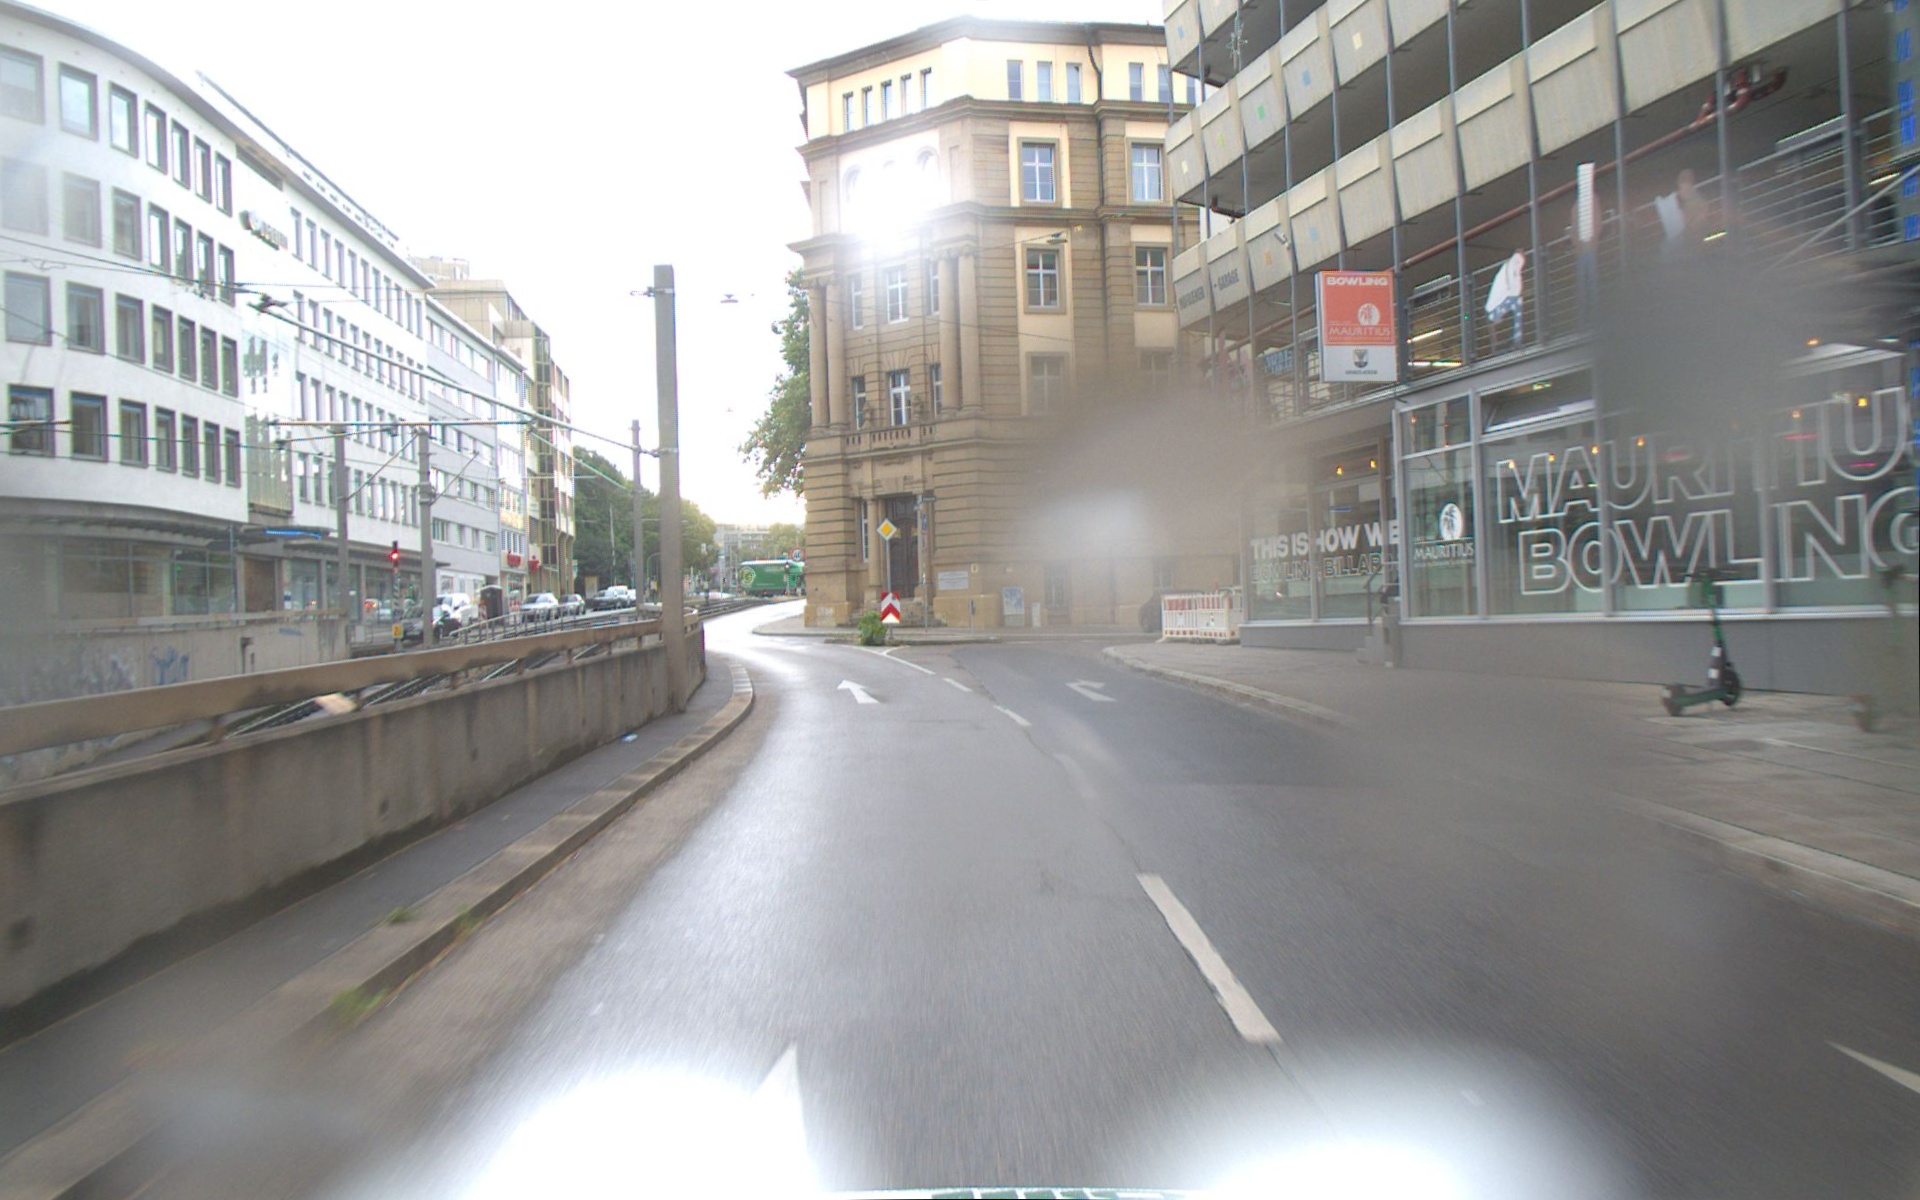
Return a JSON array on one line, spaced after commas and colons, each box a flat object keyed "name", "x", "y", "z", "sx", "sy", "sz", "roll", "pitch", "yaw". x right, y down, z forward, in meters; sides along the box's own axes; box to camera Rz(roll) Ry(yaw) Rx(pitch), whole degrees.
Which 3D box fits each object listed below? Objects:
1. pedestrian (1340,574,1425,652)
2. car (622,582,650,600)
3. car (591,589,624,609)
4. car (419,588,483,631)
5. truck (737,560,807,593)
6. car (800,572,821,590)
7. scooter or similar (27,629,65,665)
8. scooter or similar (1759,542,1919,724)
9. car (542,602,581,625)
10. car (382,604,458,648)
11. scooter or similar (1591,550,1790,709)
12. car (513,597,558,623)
[{"name": "pedestrian", "x": 6.439, "y": 0.193, "z": 25.232, "sx": 0.740, "sy": 1.142, "sz": 1.242, "roll": -1, "pitch": 0, "yaw": -14}, {"name": "car", "x": -27.809, "y": -0.788, "z": 141.982, "sx": 1.955, "sy": 1.482, "sz": 4.306, "roll": -1, "pitch": 1, "yaw": -5}, {"name": "car", "x": -27.570, "y": -0.097, "z": 129.385, "sx": 1.955, "sy": 1.482, "sz": 4.306, "roll": -1, "pitch": 1, "yaw": -5}, {"name": "car", "x": -24.372, "y": 0.421, "z": 79.353, "sx": 1.955, "sy": 1.915, "sz": 4.921, "roll": -1, "pitch": 1, "yaw": -5}, {"name": "truck", "x": -20.329, "y": -2.544, "z": 178.815, "sx": 7.748, "sy": 3.446, "sz": 1.998, "roll": 1, "pitch": 1, "yaw": 27}, {"name": "car", "x": -14.350, "y": -1.791, "z": 158.804, "sx": 1.955, "sy": 1.691, "sz": 3.996, "roll": -1, "pitch": 1, "yaw": -5}, {"name": "scooter or similar", "x": -27.940, "y": 1.444, "z": 50.563, "sx": 0.803, "sy": 1.062, "sz": 0.548, "roll": -1, "pitch": 0, "yaw": 10}, {"name": "scooter or similar", "x": 7.171, "y": 0.225, "z": 12.979, "sx": 1.615, "sy": 1.289, "sz": 0.737, "roll": -4, "pitch": 1, "yaw": -25}, {"name": "car", "x": -27.130, "y": 0.915, "z": 112.763, "sx": 1.955, "sy": 1.482, "sz": 4.306, "roll": -1, "pitch": 1, "yaw": -5}, {"name": "car", "x": -20.736, "y": 0.966, "z": 63.638, "sx": 1.955, "sy": 1.554, "sz": 3.659, "roll": -1, "pitch": 1, "yaw": -5}, {"name": "scooter or similar", "x": 6.627, "y": 0.249, "z": 15.001, "sx": 1.615, "sy": 1.289, "sz": 0.737, "roll": -4, "pitch": 1, "yaw": -25}, {"name": "car", "x": -25.717, "y": 0.567, "z": 100.410, "sx": 1.955, "sy": 1.482, "sz": 4.306, "roll": -1, "pitch": 1, "yaw": -5}]
